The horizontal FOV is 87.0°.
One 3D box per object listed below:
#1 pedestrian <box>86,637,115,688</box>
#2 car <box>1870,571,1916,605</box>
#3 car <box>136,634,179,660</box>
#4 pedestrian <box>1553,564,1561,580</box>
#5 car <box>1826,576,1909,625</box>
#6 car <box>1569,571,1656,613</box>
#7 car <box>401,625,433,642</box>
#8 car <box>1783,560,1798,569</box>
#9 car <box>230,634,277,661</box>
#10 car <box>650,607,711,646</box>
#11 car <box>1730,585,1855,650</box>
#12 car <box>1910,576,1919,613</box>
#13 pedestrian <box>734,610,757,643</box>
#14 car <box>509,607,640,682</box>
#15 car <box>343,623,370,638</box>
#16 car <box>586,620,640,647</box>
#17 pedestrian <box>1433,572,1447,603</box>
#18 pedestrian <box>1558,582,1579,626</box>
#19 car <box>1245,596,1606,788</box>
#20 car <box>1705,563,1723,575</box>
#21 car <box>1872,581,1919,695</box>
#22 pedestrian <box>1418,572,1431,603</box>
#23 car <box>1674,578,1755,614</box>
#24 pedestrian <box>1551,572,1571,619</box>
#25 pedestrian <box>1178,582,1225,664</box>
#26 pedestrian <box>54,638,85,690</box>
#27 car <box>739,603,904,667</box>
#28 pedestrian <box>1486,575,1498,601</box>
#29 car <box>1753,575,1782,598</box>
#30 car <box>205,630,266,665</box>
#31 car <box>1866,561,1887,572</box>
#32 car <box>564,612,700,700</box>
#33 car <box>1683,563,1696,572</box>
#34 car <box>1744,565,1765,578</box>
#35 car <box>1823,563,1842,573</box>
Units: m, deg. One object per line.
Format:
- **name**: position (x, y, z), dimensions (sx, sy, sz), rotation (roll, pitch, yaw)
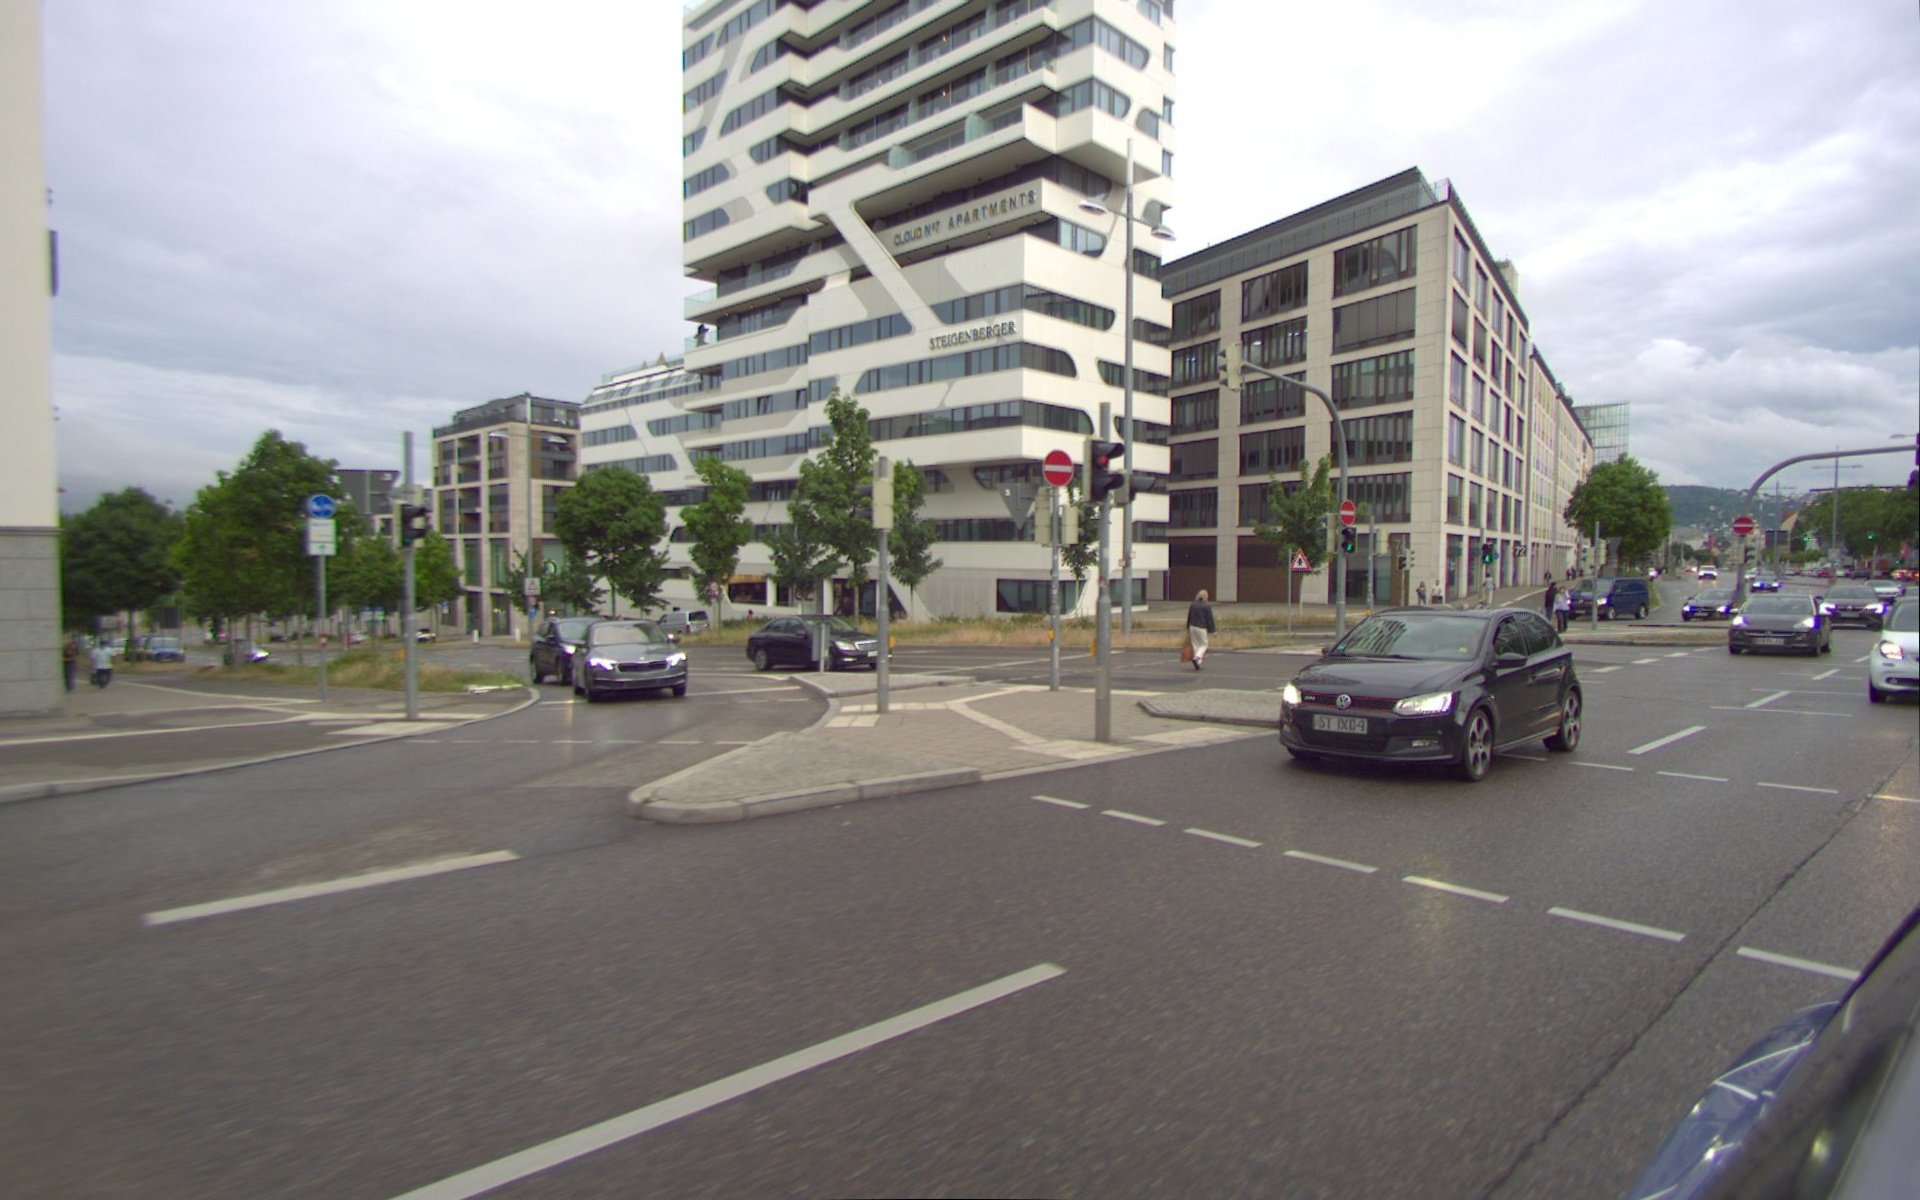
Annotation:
- **pedestrian**: position (-29.205, 2.112, 34.394), dimensions (0.722, 1.674, 0.561), rotation (-1, 0, -38)
- **car**: position (57.358, -0.737, 62.225), dimensions (3.933, 2.058, 1.796), rotation (-1, 0, -43)
- **car**: position (-50.958, 2.968, 64.237), dimensions (1.770, 1.530, 4.487), rotation (-1, -2, -44)
- **pedestrian**: position (56.518, -2.640, 95.762), dimensions (0.584, 1.496, 0.597), rotation (0, 0, 35)
- **car**: position (33.198, -0.020, 36.985), dimensions (3.930, 1.687, 1.797), rotation (-1, 0, -41)
- **car**: position (30.348, -0.380, 47.025), dimensions (4.208, 1.885, 1.801), rotation (-1, 0, -32)
- **car**: position (-55.444, 3.401, 103.336), dimensions (1.770, 1.529, 4.489), rotation (-1, 1, -44)
- **car**: position (147.555, -6.323, 179.793), dimensions (1.788, 1.529, 3.950), rotation (0, 1, 35)
- **car**: position (-43.789, 2.944, 62.701), dimensions (1.770, 1.530, 3.989), rotation (-1, -2, -44)
- **car**: position (-18.533, 1.699, 67.057), dimensions (4.482, 2.409, 1.773), rotation (0, 1, 42)
- **car**: position (20.128, 0.372, 24.439), dimensions (3.642, 1.459, 1.750), rotation (-1, 0, -41)
- **car**: position (46.051, -0.264, 47.469), dimensions (3.930, 1.687, 1.797), rotation (-1, 1, -41)
- **pedestrian**: position (-13.719, 1.689, 64.634), dimensions (1.091, 2.039, 0.958), rotation (0, 0, 42)
- **car**: position (-9.999, 1.115, 26.038), dimensions (1.824, 1.689, 4.480), rotation (-3, 0, -38)
- **car**: position (-71.051, 3.548, 119.055), dimensions (1.770, 1.529, 4.489), rotation (-1, 1, -44)
- **car**: position (-25.426, 2.424, 74.058), dimensions (4.482, 1.764, 1.773), rotation (0, 1, 42)
- **pedestrian**: position (25.202, -0.648, 53.149), dimensions (0.583, 1.630, 0.597), rotation (0, 0, 34)
- **pedestrian**: position (20.981, 0.125, 34.901), dimensions (0.582, 1.496, 0.599), rotation (0, 0, 27)
- **car**: position (4.467, 0.683, 9.466), dimensions (3.782, 1.417, 1.676), rotation (0, 1, -41)
- **car**: position (100.468, -4.143, 134.908), dimensions (1.788, 1.529, 3.950), rotation (0, 0, 35)
- **car**: position (14.916, 0.538, 14.899), dimensions (3.931, 1.556, 1.797), rotation (0, 1, -42)
- **pedestrian**: position (24.836, -0.671, 54.097), dimensions (0.583, 1.630, 0.597), rotation (0, 0, 34)
- **car**: position (33.535, -0.209, 44.978), dimensions (3.925, 1.529, 1.800), rotation (-1, 0, -36)
- **pedestrian**: position (23.726, -0.176, 39.949), dimensions (0.601, 1.825, 0.579), rotation (0, 0, 40)
- **pedestrian**: position (4.944, 0.453, 20.750), dimensions (0.633, 1.645, 0.707), rotation (-1, 0, -40)
- **pedestrian**: position (-29.796, 2.120, 33.861), dimensions (0.722, 1.674, 0.561), rotation (-1, 0, -38)
- **car**: position (-3.591, 0.883, 25.592), dimensions (1.826, 1.408, 4.473), rotation (-2, 0, -44)
- **pedestrian**: position (30.447, -0.695, 57.935), dimensions (0.582, 1.496, 0.599), rotation (0, 0, 27)
- **car**: position (71.532, -1.212, 89.693), dimensions (1.788, 1.970, 3.950), rotation (0, 0, 35)
- **car**: position (-34.881, 2.269, 48.654), dimensions (1.770, 1.529, 4.488), rotation (-1, -1, -44)
- **car**: position (132.742, -4.867, 146.563), dimensions (1.788, 1.529, 3.950), rotation (0, 1, 35)
- **car**: position (-6.427, 0.994, 19.494), dimensions (1.819, 1.408, 4.491), rotation (-2, 0, -26)
- **car**: position (130.662, -5.881, 181.355), dimensions (1.788, 1.529, 3.950), rotation (0, 1, 35)
- **car**: position (97.462, -3.445, 124.193), dimensions (1.788, 1.529, 3.950), rotation (0, 1, 35)
- **car**: position (135.176, -4.978, 156.828), dimensions (1.788, 1.529, 3.950), rotation (0, 1, 35)
